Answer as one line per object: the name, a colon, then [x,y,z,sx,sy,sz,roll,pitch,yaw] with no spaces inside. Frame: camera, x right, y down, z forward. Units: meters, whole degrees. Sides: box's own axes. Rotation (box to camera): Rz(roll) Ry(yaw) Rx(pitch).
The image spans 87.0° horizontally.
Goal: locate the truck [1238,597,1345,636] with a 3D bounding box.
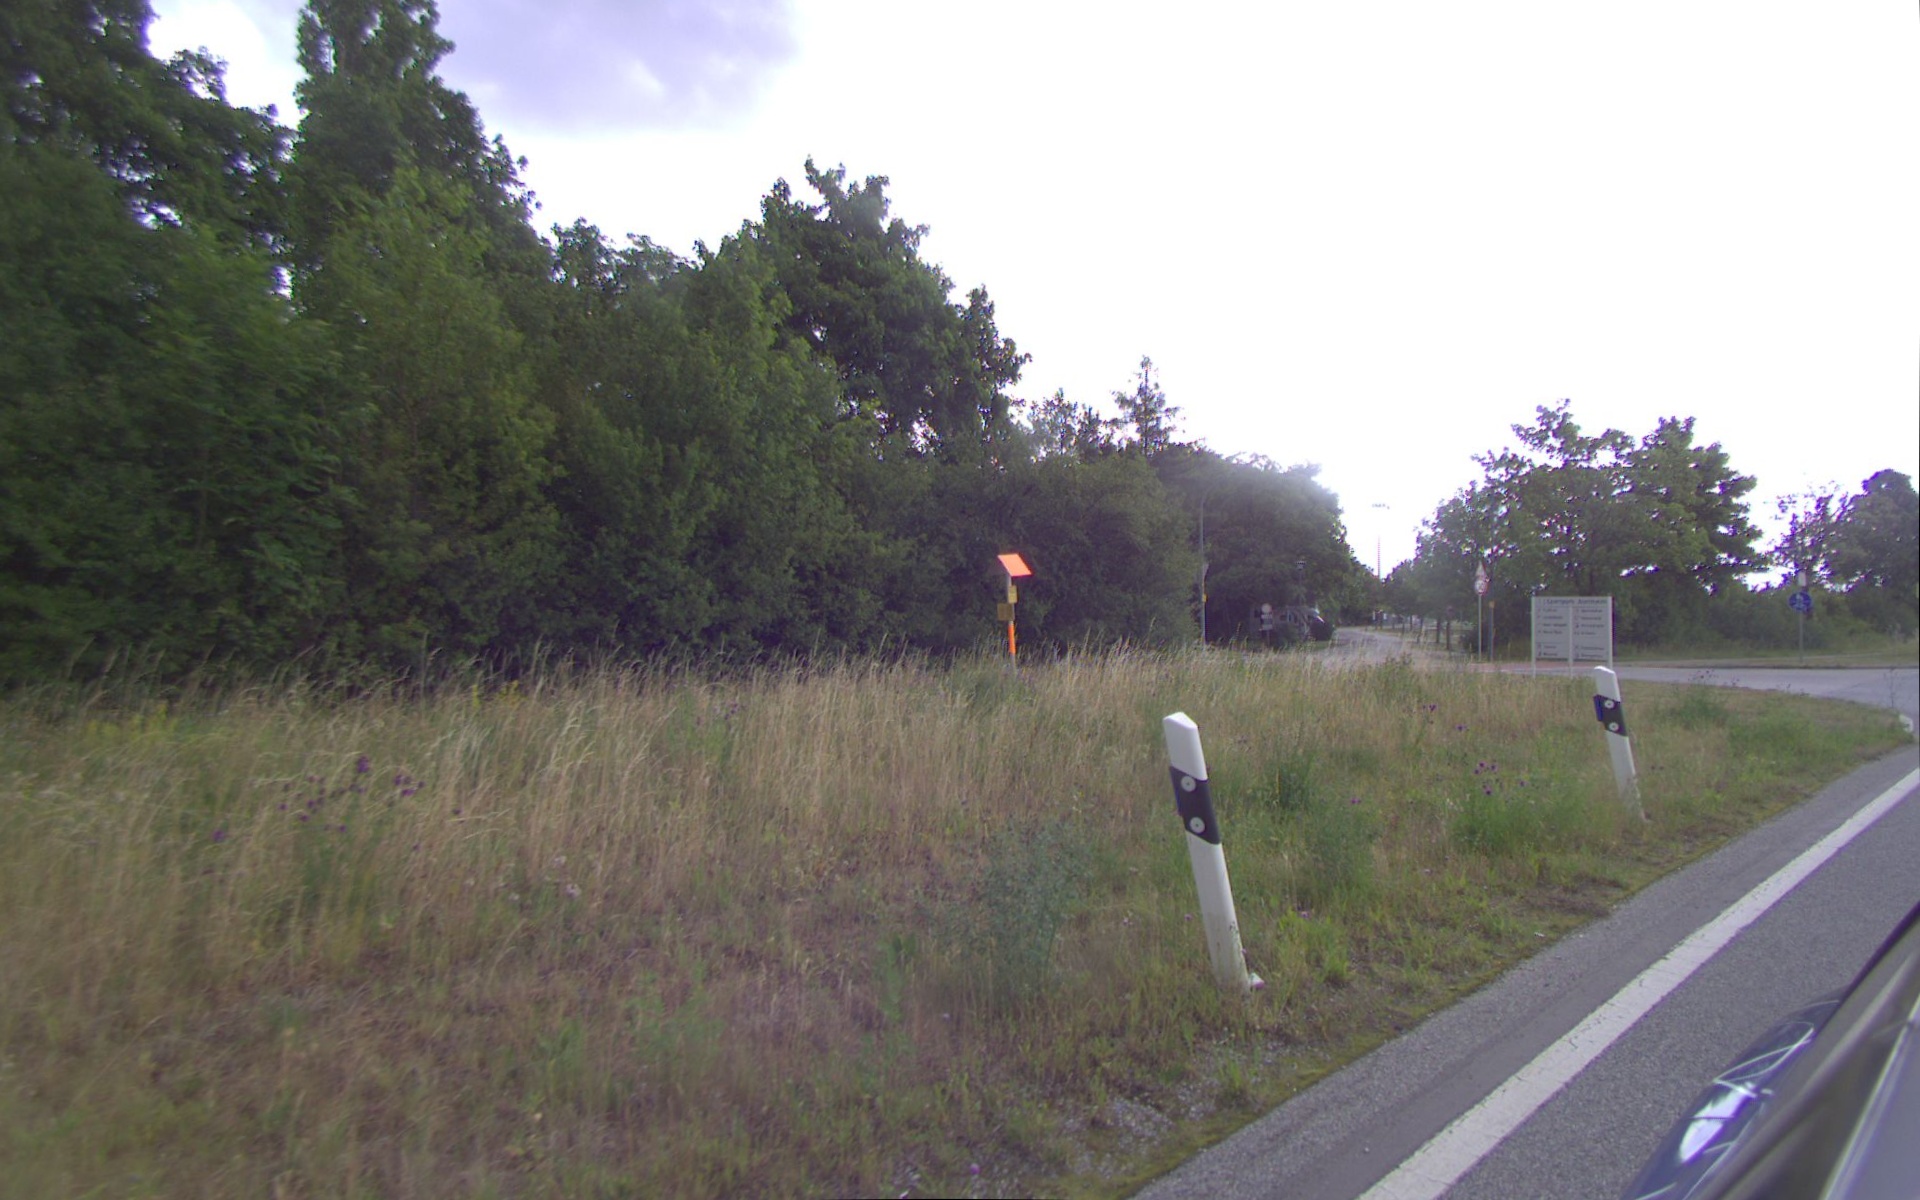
truck: [27.830,1.319,85.046,8.283,3.149,3.047,0,0,25]
